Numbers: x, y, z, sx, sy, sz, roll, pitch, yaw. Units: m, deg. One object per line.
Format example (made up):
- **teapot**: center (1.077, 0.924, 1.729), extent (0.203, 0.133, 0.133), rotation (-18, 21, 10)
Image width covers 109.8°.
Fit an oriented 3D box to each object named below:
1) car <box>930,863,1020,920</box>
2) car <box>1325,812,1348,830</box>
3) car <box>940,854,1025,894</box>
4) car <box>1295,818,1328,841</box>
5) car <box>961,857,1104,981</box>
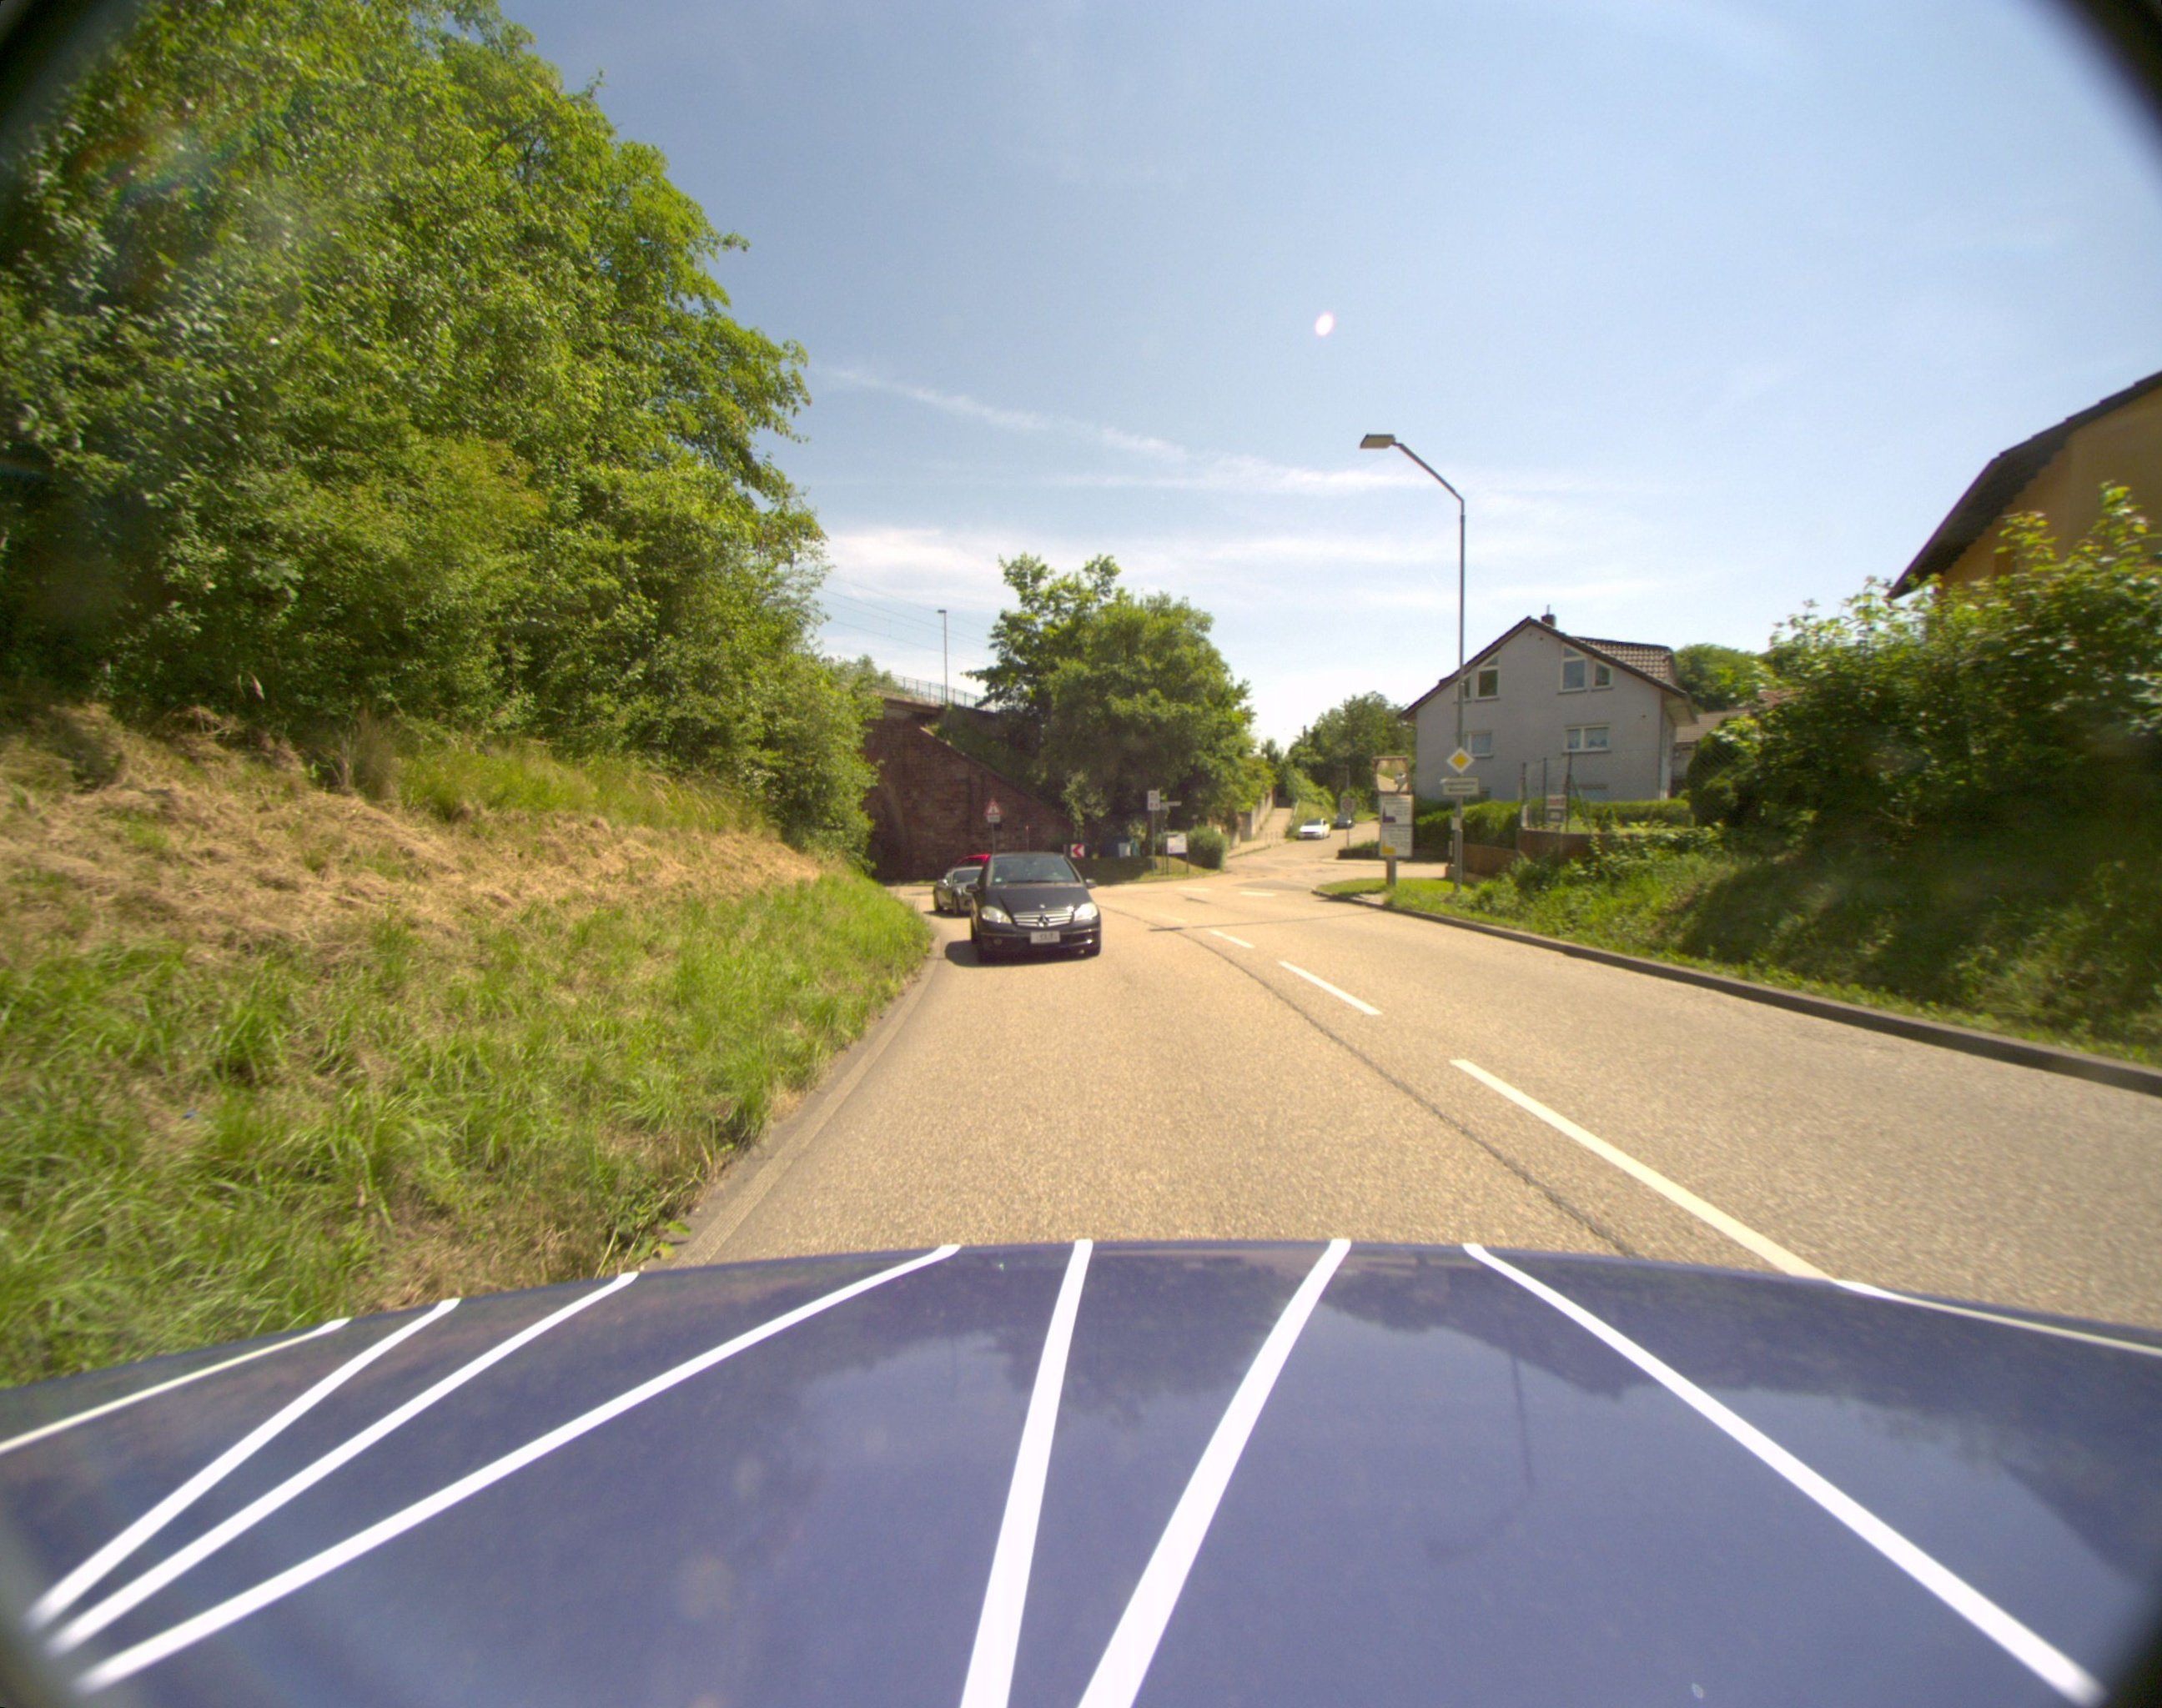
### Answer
- **car**: center (-2.994, 0.978, 20.847), extent (1.650, 1.314, 3.432), rotation (-4, 0, -21)
- **car**: center (24.773, -3.213, 73.500), extent (1.747, 1.382, 4.003), rotation (-2, 5, 23)
- **car**: center (-4.038, 0.779, 30.806), extent (1.664, 1.450, 3.626), rotation (-5, 2, -39)
- **car**: center (17.859, -1.929, 58.706), extent (1.995, 1.499, 4.003), rotation (-2, 4, 23)
- **car**: center (-0.928, 0.876, 12.125), extent (1.797, 1.570, 3.796), rotation (-2, 0, -10)
